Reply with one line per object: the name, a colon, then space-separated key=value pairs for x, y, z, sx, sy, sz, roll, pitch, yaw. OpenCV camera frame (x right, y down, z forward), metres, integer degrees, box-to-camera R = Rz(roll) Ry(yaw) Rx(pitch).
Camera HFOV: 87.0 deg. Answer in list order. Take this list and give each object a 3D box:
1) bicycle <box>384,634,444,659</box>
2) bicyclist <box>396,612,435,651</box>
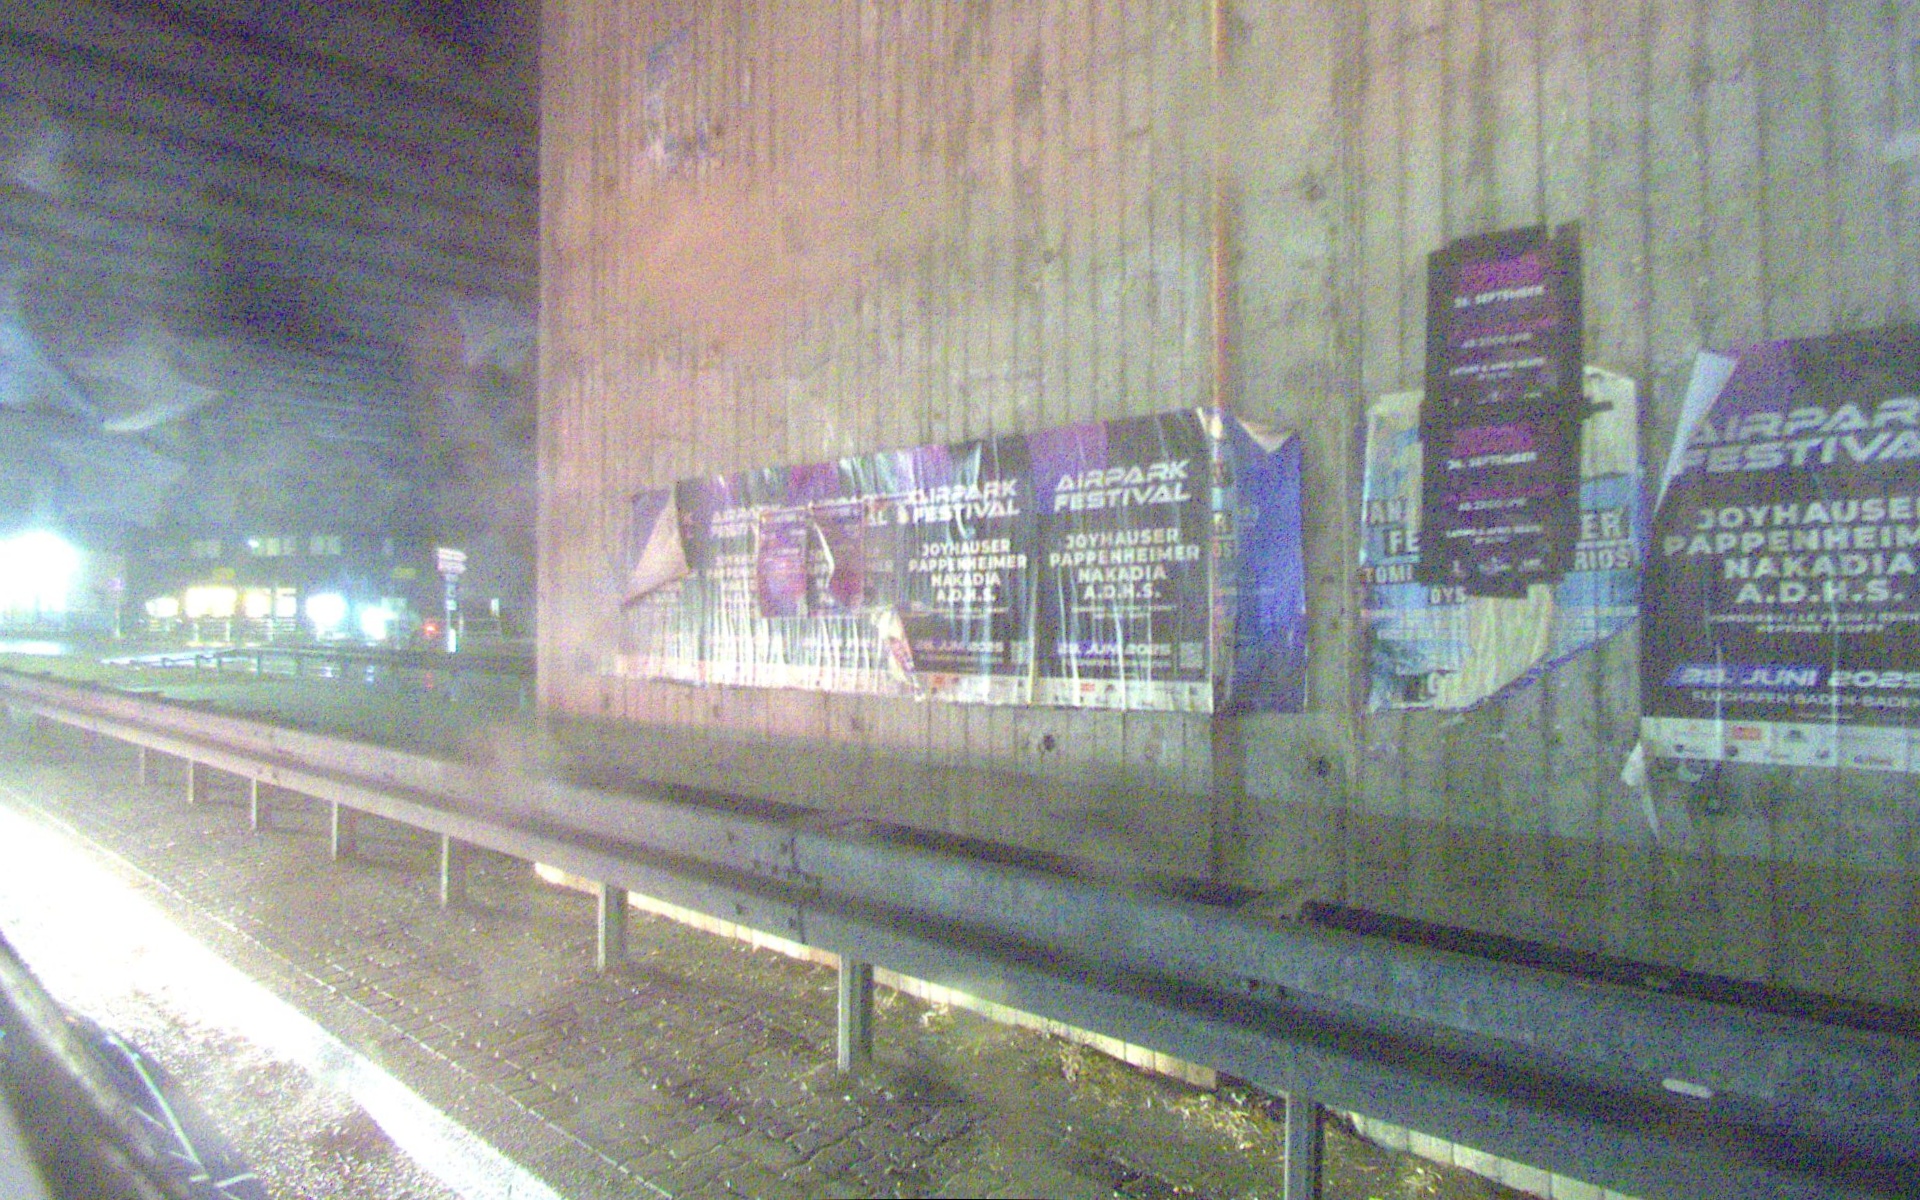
bicycle: x=-20.723 y=1.748 z=38.399 sx=2.194 sy=0.912 sz=0.625 roll=0 pitch=-2 yaw=17
bicyclist: x=-20.662 y=1.196 z=38.391 sx=1.178 sy=1.446 sz=0.626 roll=0 pitch=-2 yaw=17
